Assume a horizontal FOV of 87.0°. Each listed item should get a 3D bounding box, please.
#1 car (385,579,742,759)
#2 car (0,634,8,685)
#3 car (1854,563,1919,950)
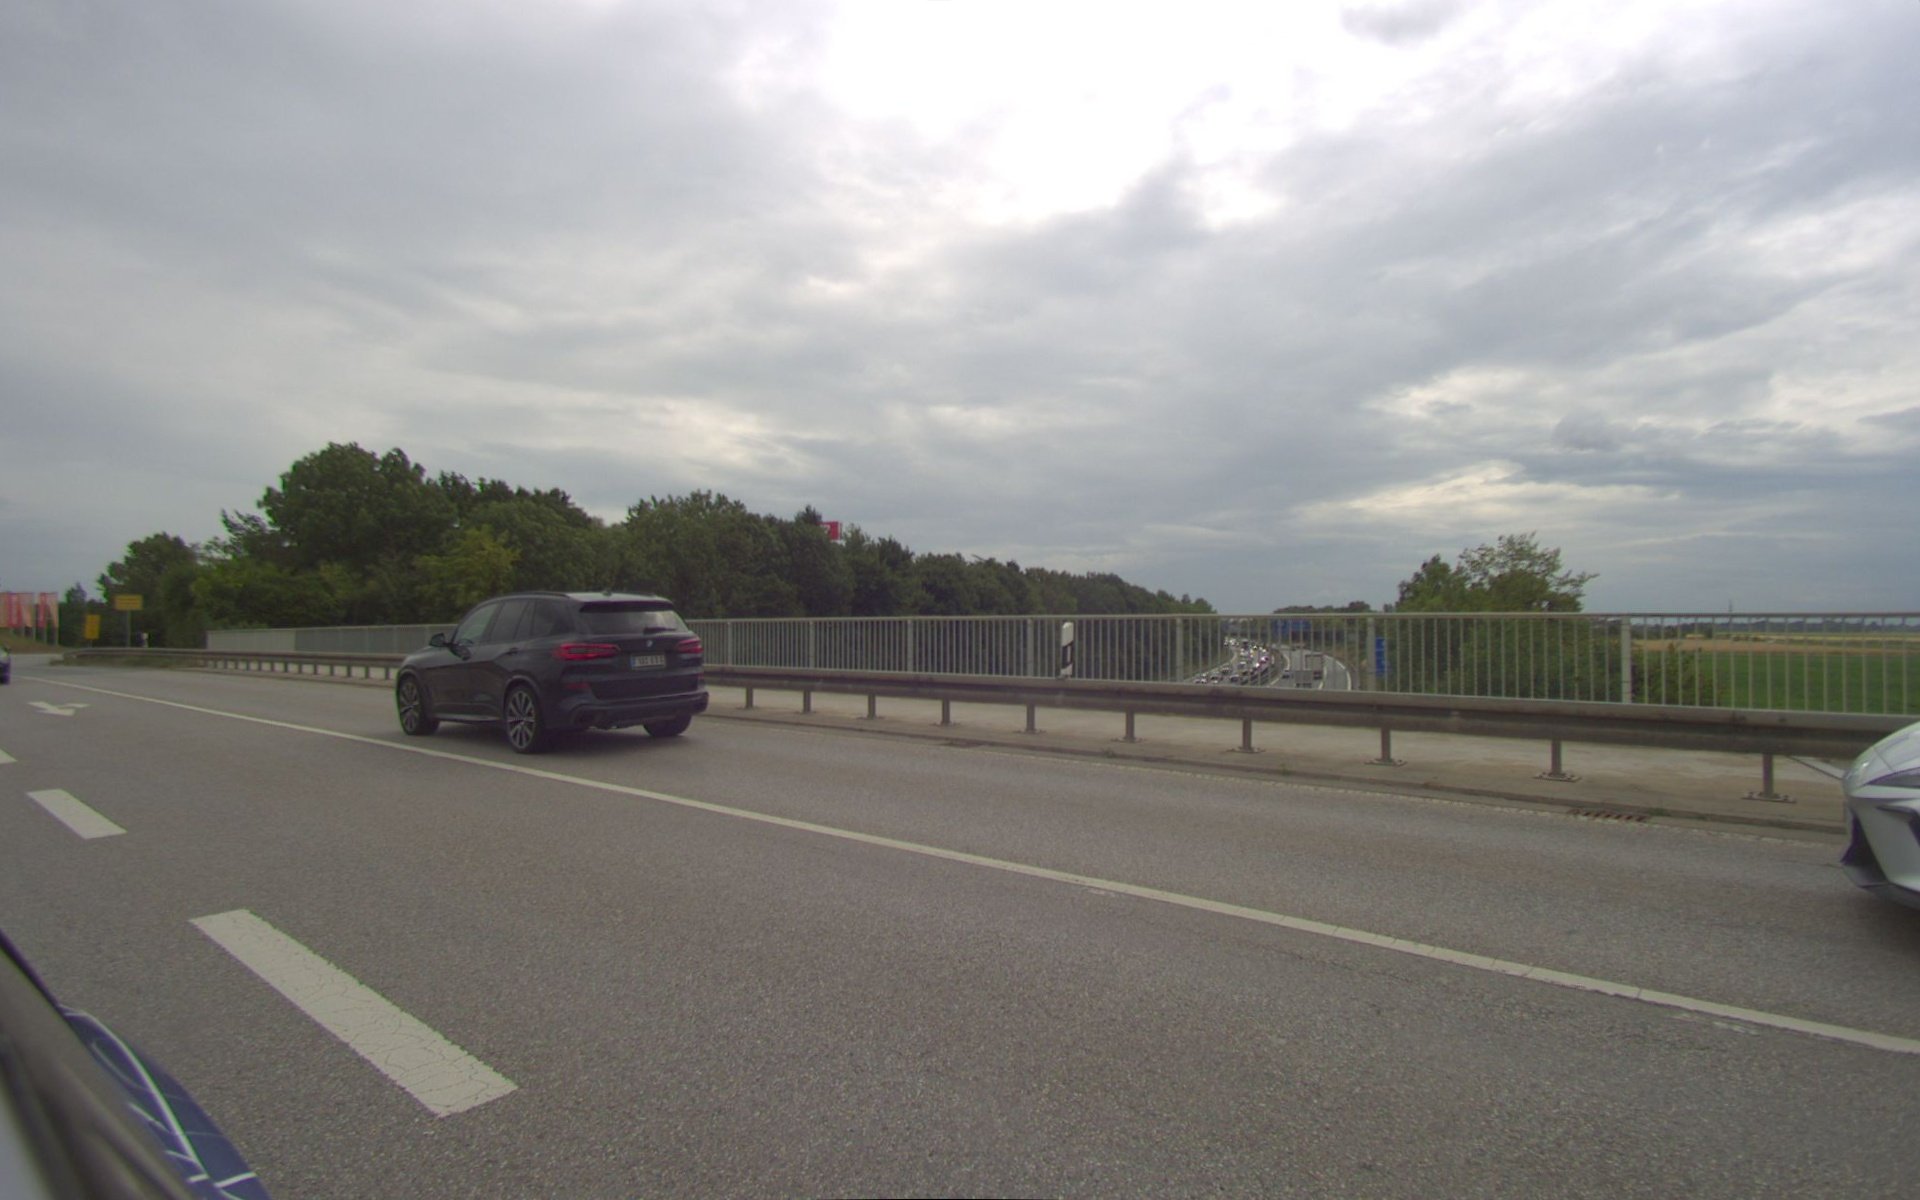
[{"bbox_3d":[-4.907,0.687,12.170,4.759,1.745,1.973,-1,1,41],"label":"car"},{"bbox_3d":[-27.793,1.672,28.134,3.821,1.364,1.560,-3,-2,41],"label":"car"},{"bbox_3d":[5.832,0.576,3.289,4.275,1.498,1.695,-1,0,39],"label":"car"}]
